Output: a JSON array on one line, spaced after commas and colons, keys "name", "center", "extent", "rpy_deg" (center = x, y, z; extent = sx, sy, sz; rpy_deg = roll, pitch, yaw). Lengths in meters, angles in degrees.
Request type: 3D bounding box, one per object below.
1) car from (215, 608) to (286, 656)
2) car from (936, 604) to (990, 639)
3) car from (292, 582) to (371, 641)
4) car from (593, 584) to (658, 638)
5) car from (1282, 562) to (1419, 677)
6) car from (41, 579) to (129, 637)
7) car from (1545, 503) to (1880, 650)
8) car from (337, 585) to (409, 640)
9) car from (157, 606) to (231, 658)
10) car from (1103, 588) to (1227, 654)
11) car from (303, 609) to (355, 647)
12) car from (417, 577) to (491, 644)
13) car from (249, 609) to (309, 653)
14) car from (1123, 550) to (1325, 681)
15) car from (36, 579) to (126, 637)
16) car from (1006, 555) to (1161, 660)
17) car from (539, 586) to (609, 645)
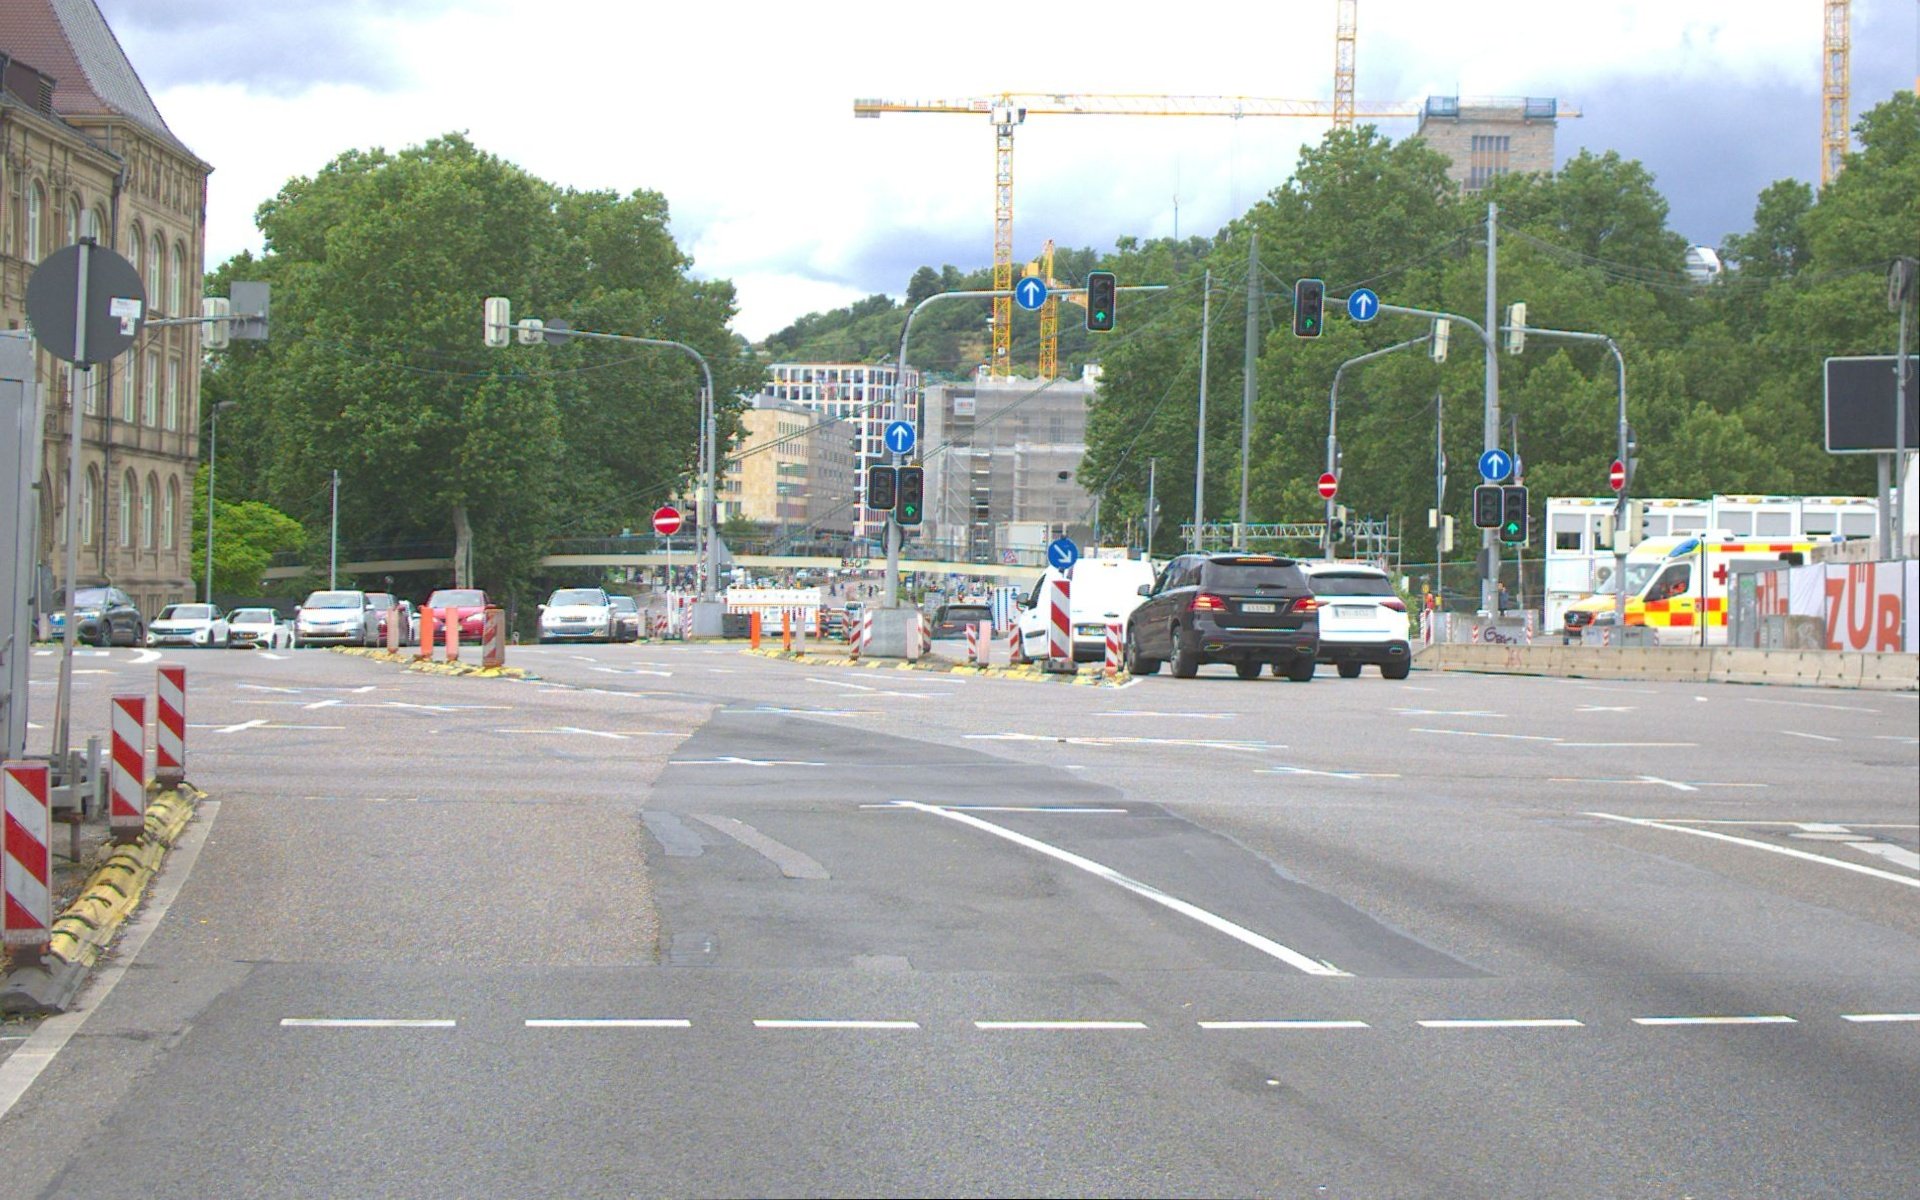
[{"name": "car", "center": [-22.296, 0.994, 108.138], "extent": [1.676, 1.393, 3.684], "rpy_deg": [2, 1, -4]}, {"name": "car", "center": [0.078, 0.730, 116.811], "extent": [1.308, 1.071, 3.684], "rpy_deg": [1, 1, -8]}, {"name": "car", "center": [-15.641, 0.283, 85.640], "extent": [1.675, 1.393, 3.684], "rpy_deg": [1, 1, -7]}, {"name": "car", "center": [-9.106, 0.285, 93.327], "extent": [1.675, 1.393, 3.684], "rpy_deg": [1, 1, -7]}, {"name": "car", "center": [5.992, 0.268, 53.060], "extent": [1.676, 1.696, 3.374], "rpy_deg": [1, 1, -1]}, {"name": "car", "center": [-21.990, 0.185, 86.498], "extent": [1.675, 1.393, 3.684], "rpy_deg": [1, 1, -7]}, {"name": "car", "center": [16.214, -0.498, 74.098], "extent": [6.735, 3.041, 2.373], "rpy_deg": [1, 0, -18]}, {"name": "car", "center": [-15.661, 0.322, 91.802], "extent": [1.675, 1.393, 3.684], "rpy_deg": [1, 1, -7]}, {"name": "car", "center": [-21.877, 0.910, 98.318], "extent": [1.675, 1.393, 3.684], "rpy_deg": [1, 1, -7]}, {"name": "car", "center": [4.508, 0.450, 76.002], "extent": [1.675, 1.393, 3.087], "rpy_deg": [1, 1, -19]}, {"name": "car", "center": [-24.033, 1.058, 131.066], "extent": [1.675, 1.393, 3.684], "rpy_deg": [1, 1, -7]}, {"name": "car", "center": [-12.446, 0.246, 84.731], "extent": [1.675, 1.575, 3.684], "rpy_deg": [1, 1, -7]}, {"name": "car", "center": [-22.860, 1.027, 115.435], "extent": [1.675, 1.393, 3.684], "rpy_deg": [1, 1, -7]}, {"name": "car", "center": [3.667, 0.185, 48.493], "extent": [1.831, 1.740, 4.257], "rpy_deg": [1, 1, -10]}, {"name": "car", "center": [-22.007, 0.187, 86.173], "extent": [1.675, 1.393, 3.684], "rpy_deg": [1, 1, -7]}, {"name": "car", "center": [1.957, 0.100, 55.539], "extent": [1.816, 1.619, 4.001], "rpy_deg": [1, 1, -8]}, {"name": "car", "center": [-9.558, 0.374, 85.065], "extent": [1.675, 1.393, 3.684], "rpy_deg": [1, 1, -7]}]
